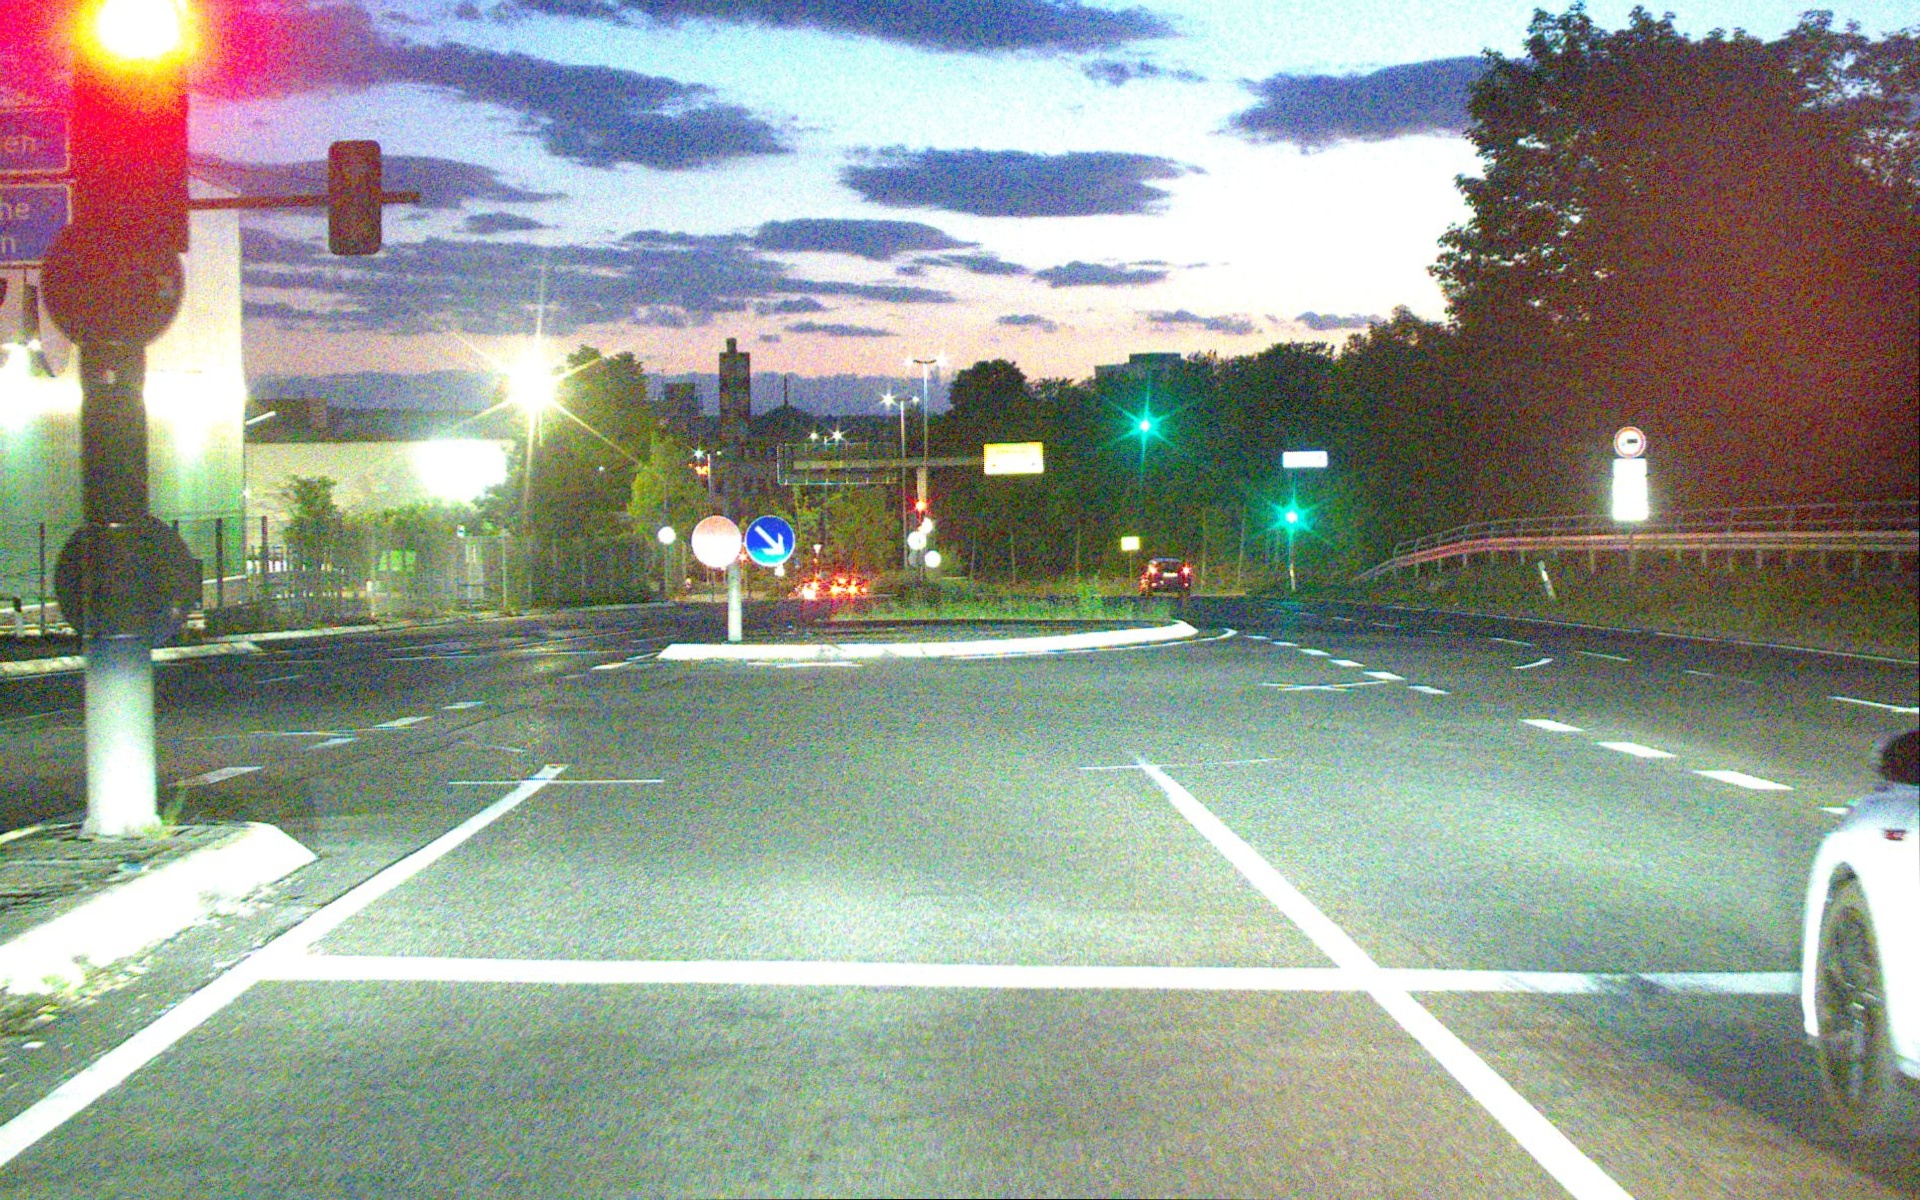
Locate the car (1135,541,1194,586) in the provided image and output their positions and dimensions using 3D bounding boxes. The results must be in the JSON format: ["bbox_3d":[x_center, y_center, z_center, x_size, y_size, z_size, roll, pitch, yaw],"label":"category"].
[{"bbox_3d":[7.869,-1.432,132.740,1.935,1.640,4.001,-1,2,-1],"label":"car"}]

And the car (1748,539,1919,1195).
[{"bbox_3d":[3.058,0.630,7.063,1.758,1.454,4.193,0,2,-2],"label":"car"}]
